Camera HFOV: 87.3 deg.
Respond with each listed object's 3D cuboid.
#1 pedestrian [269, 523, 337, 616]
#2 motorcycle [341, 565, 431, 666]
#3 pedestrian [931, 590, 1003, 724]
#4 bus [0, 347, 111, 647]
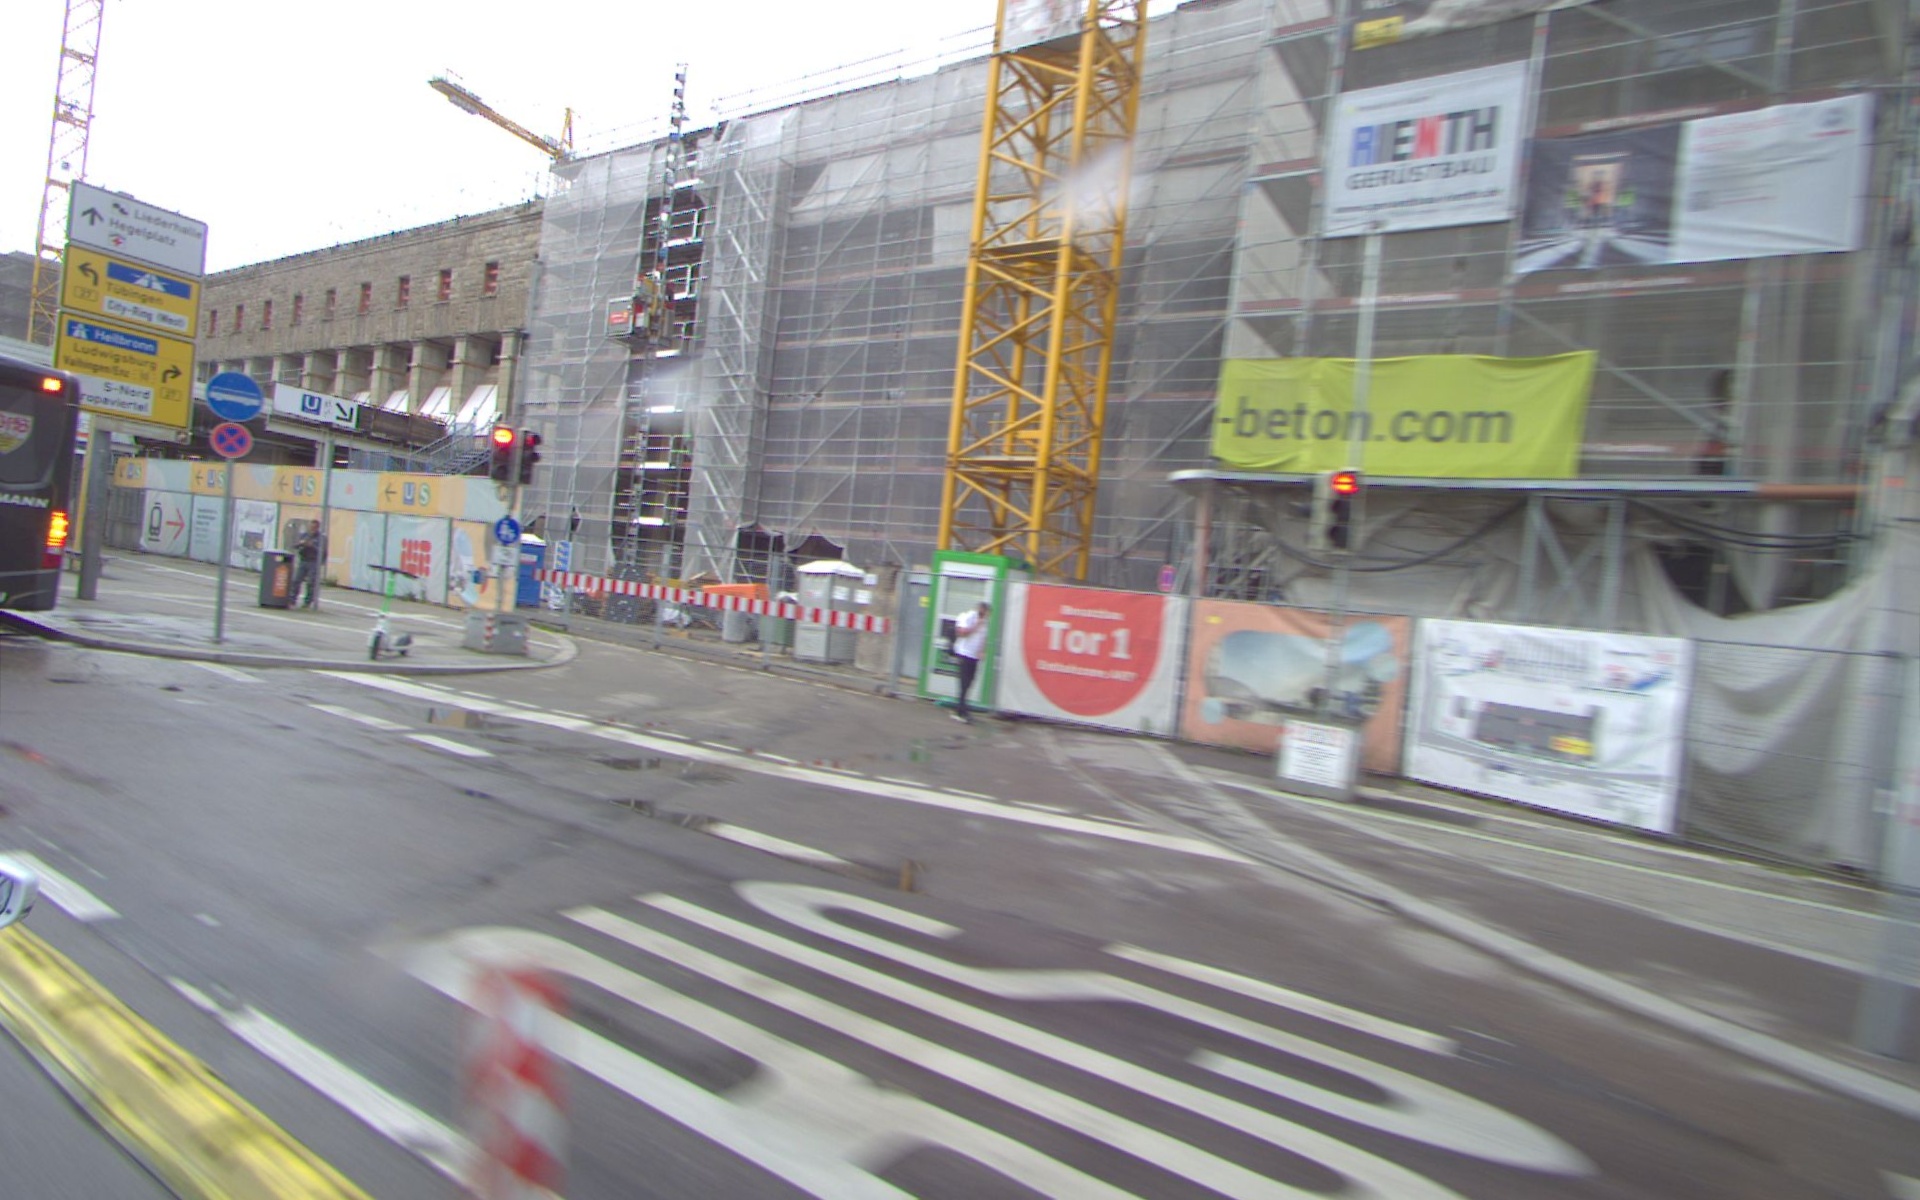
[{"bbox_3d":[-12.715,-0.597,19.494,0.899,1.655,0.822,7,1,-30],"label":"pedestrian"},{"bbox_3d":[-7.489,0.186,13.192,0.578,1.180,1.611,7,-1,-18],"label":"motorcycle"},{"bbox_3d":[0.102,0.834,14.894,0.648,1.873,0.644,8,4,33],"label":"pedestrian"},{"bbox_3d":[-14.161,-1.569,12.604,8.933,3.105,2.759,7,-1,34],"label":"bus"}]
